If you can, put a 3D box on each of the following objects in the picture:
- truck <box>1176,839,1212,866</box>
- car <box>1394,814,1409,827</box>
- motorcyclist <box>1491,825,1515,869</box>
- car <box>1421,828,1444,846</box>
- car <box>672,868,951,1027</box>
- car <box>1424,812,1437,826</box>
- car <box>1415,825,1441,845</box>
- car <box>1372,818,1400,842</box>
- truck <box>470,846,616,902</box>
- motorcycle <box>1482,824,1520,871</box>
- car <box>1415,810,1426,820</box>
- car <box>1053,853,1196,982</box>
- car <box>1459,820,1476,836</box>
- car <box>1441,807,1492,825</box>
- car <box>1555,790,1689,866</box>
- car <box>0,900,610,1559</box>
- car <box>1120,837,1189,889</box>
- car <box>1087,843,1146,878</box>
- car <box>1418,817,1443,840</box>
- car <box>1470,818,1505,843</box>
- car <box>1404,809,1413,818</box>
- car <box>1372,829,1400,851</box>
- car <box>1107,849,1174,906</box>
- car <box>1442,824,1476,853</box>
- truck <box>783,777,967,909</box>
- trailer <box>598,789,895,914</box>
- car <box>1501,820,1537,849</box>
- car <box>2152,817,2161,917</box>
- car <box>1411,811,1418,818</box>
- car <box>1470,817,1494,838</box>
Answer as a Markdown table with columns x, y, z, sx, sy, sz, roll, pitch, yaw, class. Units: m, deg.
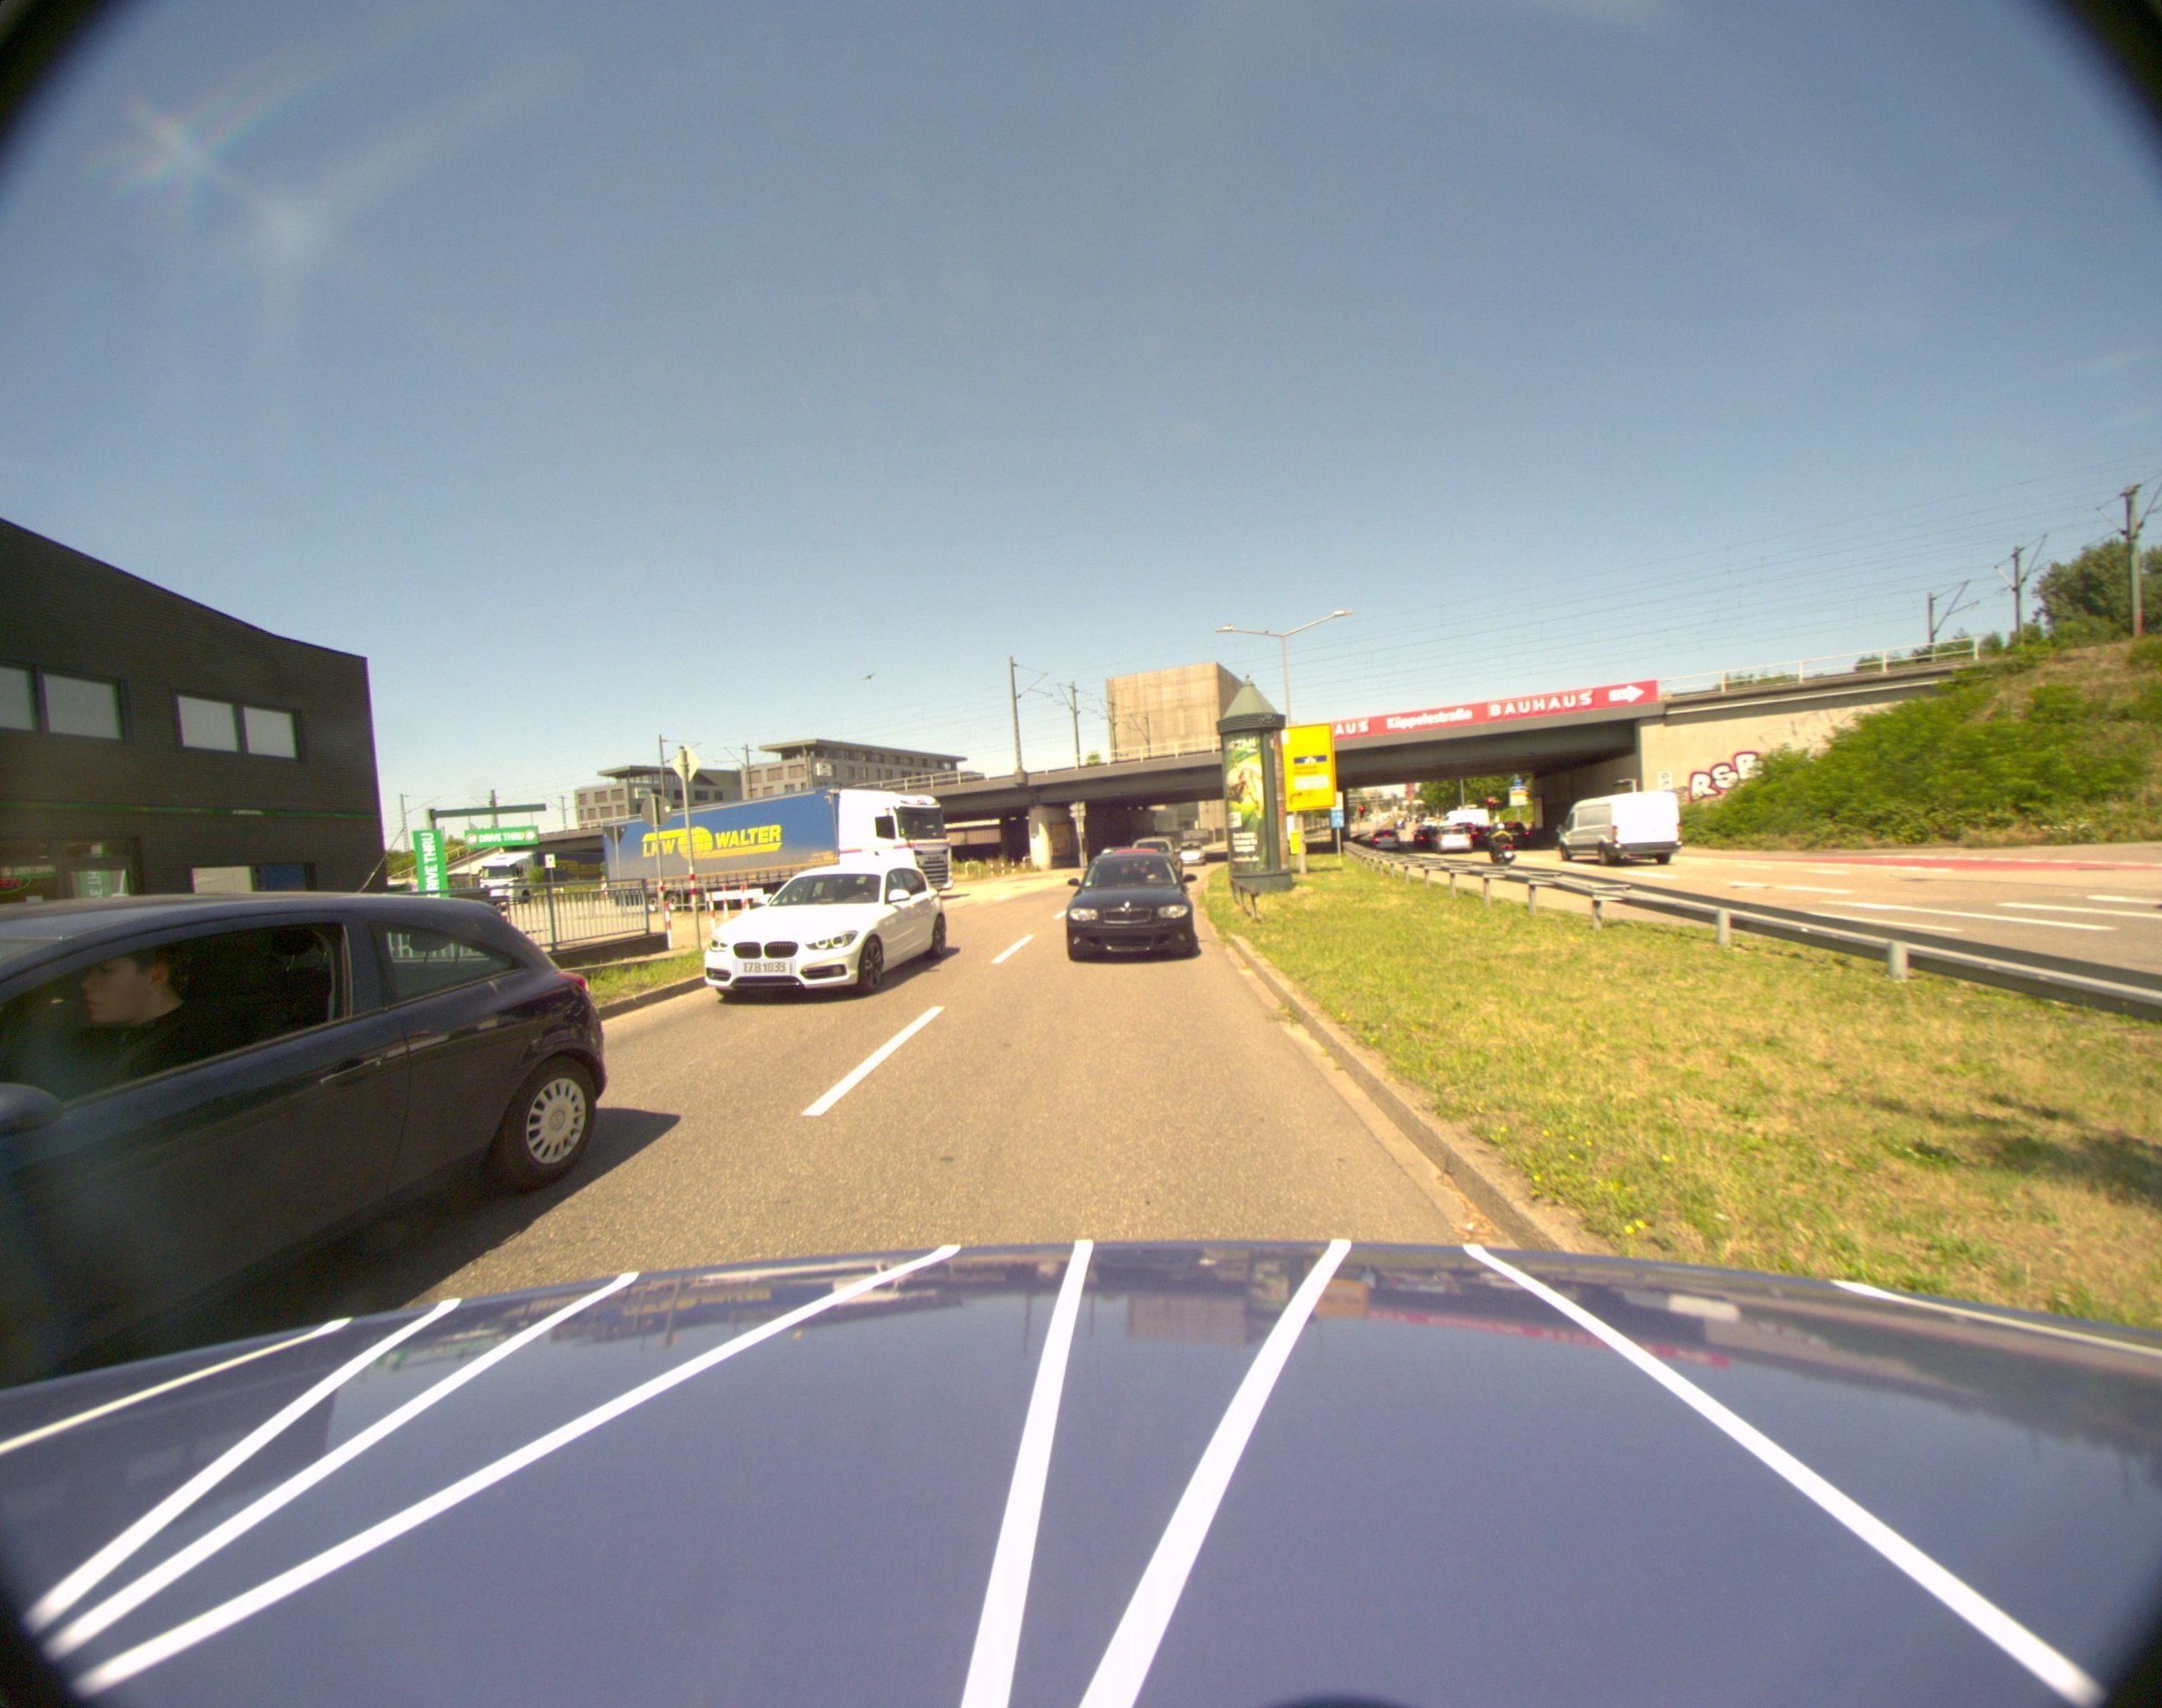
| x | y | z | sx | sy | sz | roll | pitch | yaw | class |
| --- | --- | --- | --- | --- | --- | --- | --- | --- | --- |
| 7.129 | -0.147 | 47.573 | 1.729 | 1.493 | 4.003 | -3 | 1 | 15 | truck |
| 50.278 | -5.257 | 119.101 | 1.995 | 2.002 | 4.005 | -2 | 2 | 24 | car |
| 15.723 | -0.260 | 28.348 | 0.588 | 1.617 | 0.563 | -3 | 2 | 11 | motorcyclist |
| 25.544 | -1.215 | 55.135 | 1.268 | 1.178 | 2.782 | -2 | 2 | 29 | car |
| -3.062 | 0.990 | 9.639 | 1.762 | 1.435 | 4.053 | -1 | 1 | 5 | car |
| 51.402 | -5.160 | 111.779 | 1.704 | 2.002 | 4.005 | -2 | 2 | 24 | car |
| 27.719 | -1.522 | 60.673 | 1.616 | 1.468 | 3.438 | -2 | 2 | 29 | car |
| 25.609 | -2.049 | 63.779 | 1.904 | 1.849 | 4.005 | -2 | 2 | 25 | car |
| -45.786 | 1.421 | 65.852 | 2.753 | 4.080 | 17.423 | -3 | 1 | -10 | truck |
| 15.747 | -0.271 | 28.529 | 0.598 | 1.669 | 2.427 | -3 | 1 | 14 | motorcycle |
| 71.875 | -8.191 | 160.890 | 1.836 | 2.002 | 4.005 | -2 | 2 | 22 | car |
| 0.804 | 0.790 | 11.337 | 1.680 | 1.409 | 4.057 | -3 | 1 | 8 | car |
| 33.182 | -2.239 | 65.209 | 1.183 | 1.241 | 2.696 | -2 | 2 | 29 | car |
| 50.961 | -4.990 | 100.644 | 2.002 | 2.091 | 6.371 | -4 | 1 | -20 | car |
| 20.013 | -0.852 | 28.473 | 2.097 | 2.485 | 5.816 | -2 | 0 | 15 | car |
| -3.442 | 1.015 | 2.112 | 1.650 | 1.436 | 3.891 | -3 | 0 | 2 | car |
| 2.831 | 0.285 | 28.479 | 1.843 | 1.686 | 3.703 | -3 | 1 | 16 | car |
| 1.787 | 0.283 | 36.587 | 1.714 | 1.434 | 4.004 | -2 | 1 | 19 | car |
| 30.578 | -2.278 | 66.484 | 1.904 | 1.849 | 4.005 | -2 | 2 | 25 | car |
| 28.538 | -1.662 | 53.425 | 1.773 | 1.658 | 4.020 | -2 | 1 | 23 | car |
| 80.318 | -9.915 | 186.143 | 1.836 | 2.002 | 4.005 | -2 | 2 | 22 | car |
| 20.283 | -0.966 | 50.443 | 1.636 | 1.395 | 4.227 | -1 | 1 | 23 | car |
| 1.595 | 0.580 | 21.484 | 1.646 | 1.391 | 4.052 | -1 | 1 | 1 | car |
| 21.387 | -0.879 | 43.017 | 1.635 | 1.558 | 4.079 | -1 | 1 | 27 | car |
| -7.288 | -0.307 | 26.824 | 5.748 | 4.078 | 2.580 | -4 | 1 | 28 | truck |
| -13.728 | 0.113 | 30.212 | 13.871 | 4.067 | 2.504 | -3 | 1 | 28 | trailer |
| 25.845 | -1.176 | 44.904 | 1.516 | 1.533 | 3.685 | -2 | 2 | 26 | car |
| 16.044 | 0.206 | 8.572 | 1.834 | 1.429 | 4.527 | -3 | 1 | 7 | car |
| 103.551 | -12.127 | 235.820 | 1.995 | 2.002 | 4.005 | -2 | 2 | 23 | car |
| 31.164 | -2.075 | 59.030 | 1.571 | 1.494 | 3.412 | -2 | 2 | 29 | car |
